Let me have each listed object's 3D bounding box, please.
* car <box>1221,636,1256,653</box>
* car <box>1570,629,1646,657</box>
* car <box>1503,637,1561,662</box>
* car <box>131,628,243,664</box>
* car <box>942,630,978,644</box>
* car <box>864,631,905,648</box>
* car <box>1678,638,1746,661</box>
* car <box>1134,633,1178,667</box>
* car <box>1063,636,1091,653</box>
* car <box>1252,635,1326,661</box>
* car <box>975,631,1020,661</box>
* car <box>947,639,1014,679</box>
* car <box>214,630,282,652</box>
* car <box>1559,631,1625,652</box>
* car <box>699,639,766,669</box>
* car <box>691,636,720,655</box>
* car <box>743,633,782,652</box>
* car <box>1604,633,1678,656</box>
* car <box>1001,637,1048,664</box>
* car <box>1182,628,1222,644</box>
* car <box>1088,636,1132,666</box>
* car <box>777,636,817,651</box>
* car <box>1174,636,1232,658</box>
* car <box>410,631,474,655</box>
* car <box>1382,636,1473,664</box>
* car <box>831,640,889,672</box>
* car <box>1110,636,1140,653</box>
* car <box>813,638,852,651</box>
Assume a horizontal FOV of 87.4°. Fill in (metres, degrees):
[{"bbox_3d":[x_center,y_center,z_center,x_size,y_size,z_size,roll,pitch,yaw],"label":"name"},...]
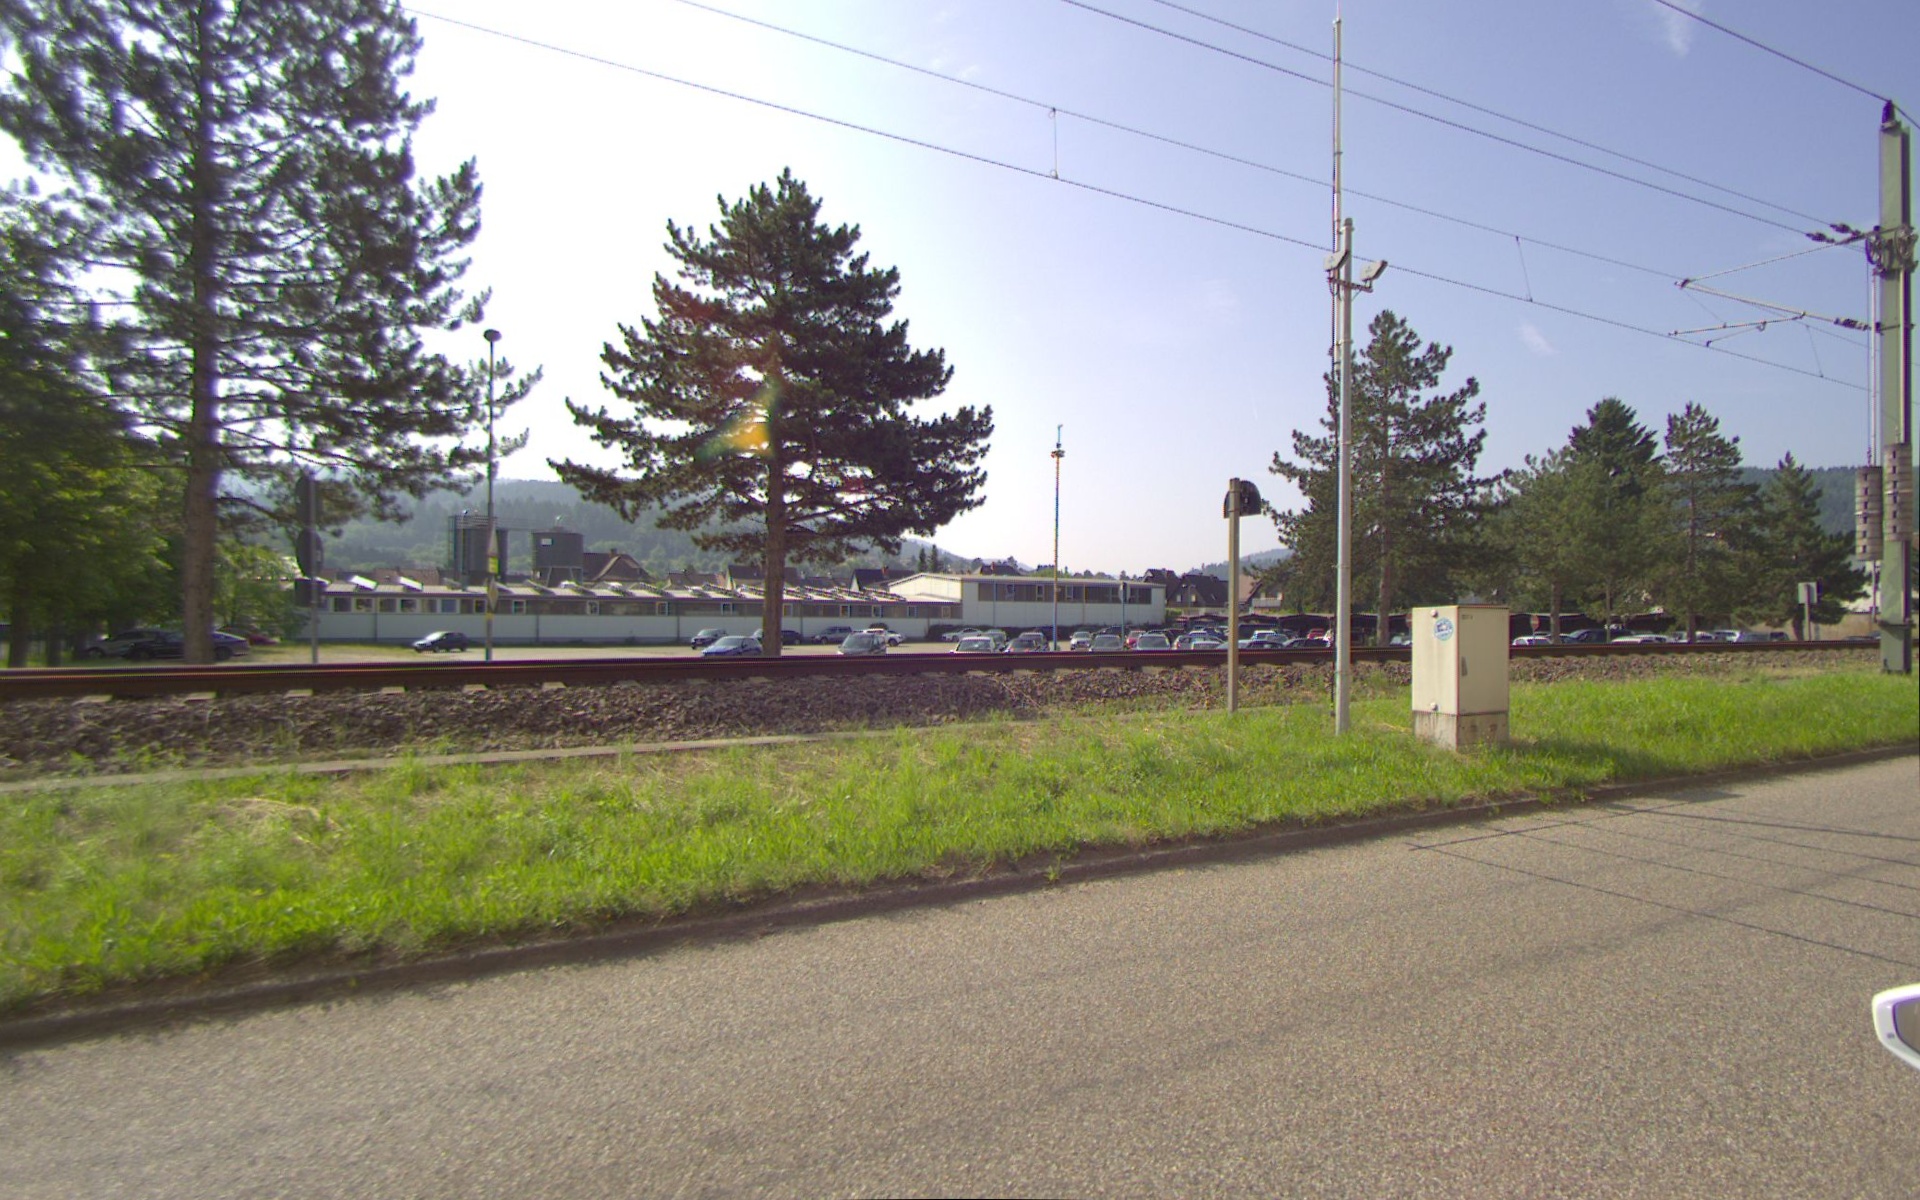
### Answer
[{"bbox_3d":[22.570,3.617,81.482,1.430,1.343,3.533,0,-2,-8],"label":"car"},{"bbox_3d":[41.586,2.742,64.498,3.729,1.710,1.647,0,-1,7],"label":"car"},{"bbox_3d":[32.400,2.801,57.033,1.428,1.343,3.538,0,-2,3],"label":"car"},{"bbox_3d":[-35.153,2.049,45.740,3.966,1.568,1.665,1,-2,-39],"label":"car"},{"bbox_3d":[-0.025,3.787,102.749,3.496,1.343,1.445,1,-2,-31],"label":"car"},{"bbox_3d":[-6.829,3.557,91.042,3.465,1.543,1.568,0,-2,4],"label":"car"},{"bbox_3d":[59.185,3.865,79.057,1.801,1.688,3.957,1,0,-37],"label":"car"},{"bbox_3d":[9.273,2.330,47.351,1.654,1.526,3.854,0,-2,17],"label":"car"},{"bbox_3d":[9.295,3.536,80.128,1.430,1.343,3.533,0,-2,-8],"label":"car"},{"bbox_3d":[18.045,2.626,55.195,3.779,1.343,1.566,0,-2,15],"label":"car"},{"bbox_3d":[2.187,2.631,57.728,1.654,1.664,3.854,0,-2,17],"label":"car"},{"bbox_3d":[0.862,2.271,39.588,1.654,1.462,3.854,0,-2,17],"label":"car"},{"bbox_3d":[-49.382,2.864,69.733,3.816,1.500,1.480,2,-2,-37],"label":"car"},{"bbox_3d":[42.161,2.762,67.054,3.465,1.343,1.458,0,-2,8],"label":"car"},{"bbox_3d":[-11.127,2.613,49.361,1.654,1.350,3.855,0,-2,13],"label":"car"},{"bbox_3d":[-20.841,3.709,82.476,1.964,1.461,3.994,1,-2,-9],"label":"car"},{"bbox_3d":[-16.123,3.437,82.118,1.536,1.543,3.536,0,-2,21],"label":"car"},{"bbox_3d":[41.930,2.732,61.874,3.465,1.343,1.458,0,-2,8],"label":"car"},{"bbox_3d":[3.300,2.523,50.763,1.536,1.278,3.854,-1,-2,17],"label":"car"},{"bbox_3d":[21.647,3.207,89.954,3.465,1.343,1.458,0,-2,10],"label":"car"},{"bbox_3d":[7.486,2.493,49.997,1.654,1.408,3.854,0,-2,17],"label":"car"},{"bbox_3d":[-15.251,4.035,94.028,3.496,1.343,1.445,1,-2,-31],"label":"car"},{"bbox_3d":[14.542,2.814,60.239,3.274,1.285,1.458,0,-2,8],"label":"car"},{"bbox_3d":[-36.646,3.050,71.149,1.655,1.664,3.852,0,-2,22],"label":"car"},{"bbox_3d":[23.186,2.470,49.936,3.779,1.343,1.566,0,-2,9],"label":"car"},{"bbox_3d":[-4.673,2.608,47.558,1.654,1.425,3.855,0,-2,12],"label":"car"},{"bbox_3d":[13.131,3.535,80.115,1.430,1.343,3.533,0,-2,-8],"label":"car"},{"bbox_3d":[-12.102,4.216,95.503,3.496,1.125,1.328,1,-2,-31],"label":"car"}]
